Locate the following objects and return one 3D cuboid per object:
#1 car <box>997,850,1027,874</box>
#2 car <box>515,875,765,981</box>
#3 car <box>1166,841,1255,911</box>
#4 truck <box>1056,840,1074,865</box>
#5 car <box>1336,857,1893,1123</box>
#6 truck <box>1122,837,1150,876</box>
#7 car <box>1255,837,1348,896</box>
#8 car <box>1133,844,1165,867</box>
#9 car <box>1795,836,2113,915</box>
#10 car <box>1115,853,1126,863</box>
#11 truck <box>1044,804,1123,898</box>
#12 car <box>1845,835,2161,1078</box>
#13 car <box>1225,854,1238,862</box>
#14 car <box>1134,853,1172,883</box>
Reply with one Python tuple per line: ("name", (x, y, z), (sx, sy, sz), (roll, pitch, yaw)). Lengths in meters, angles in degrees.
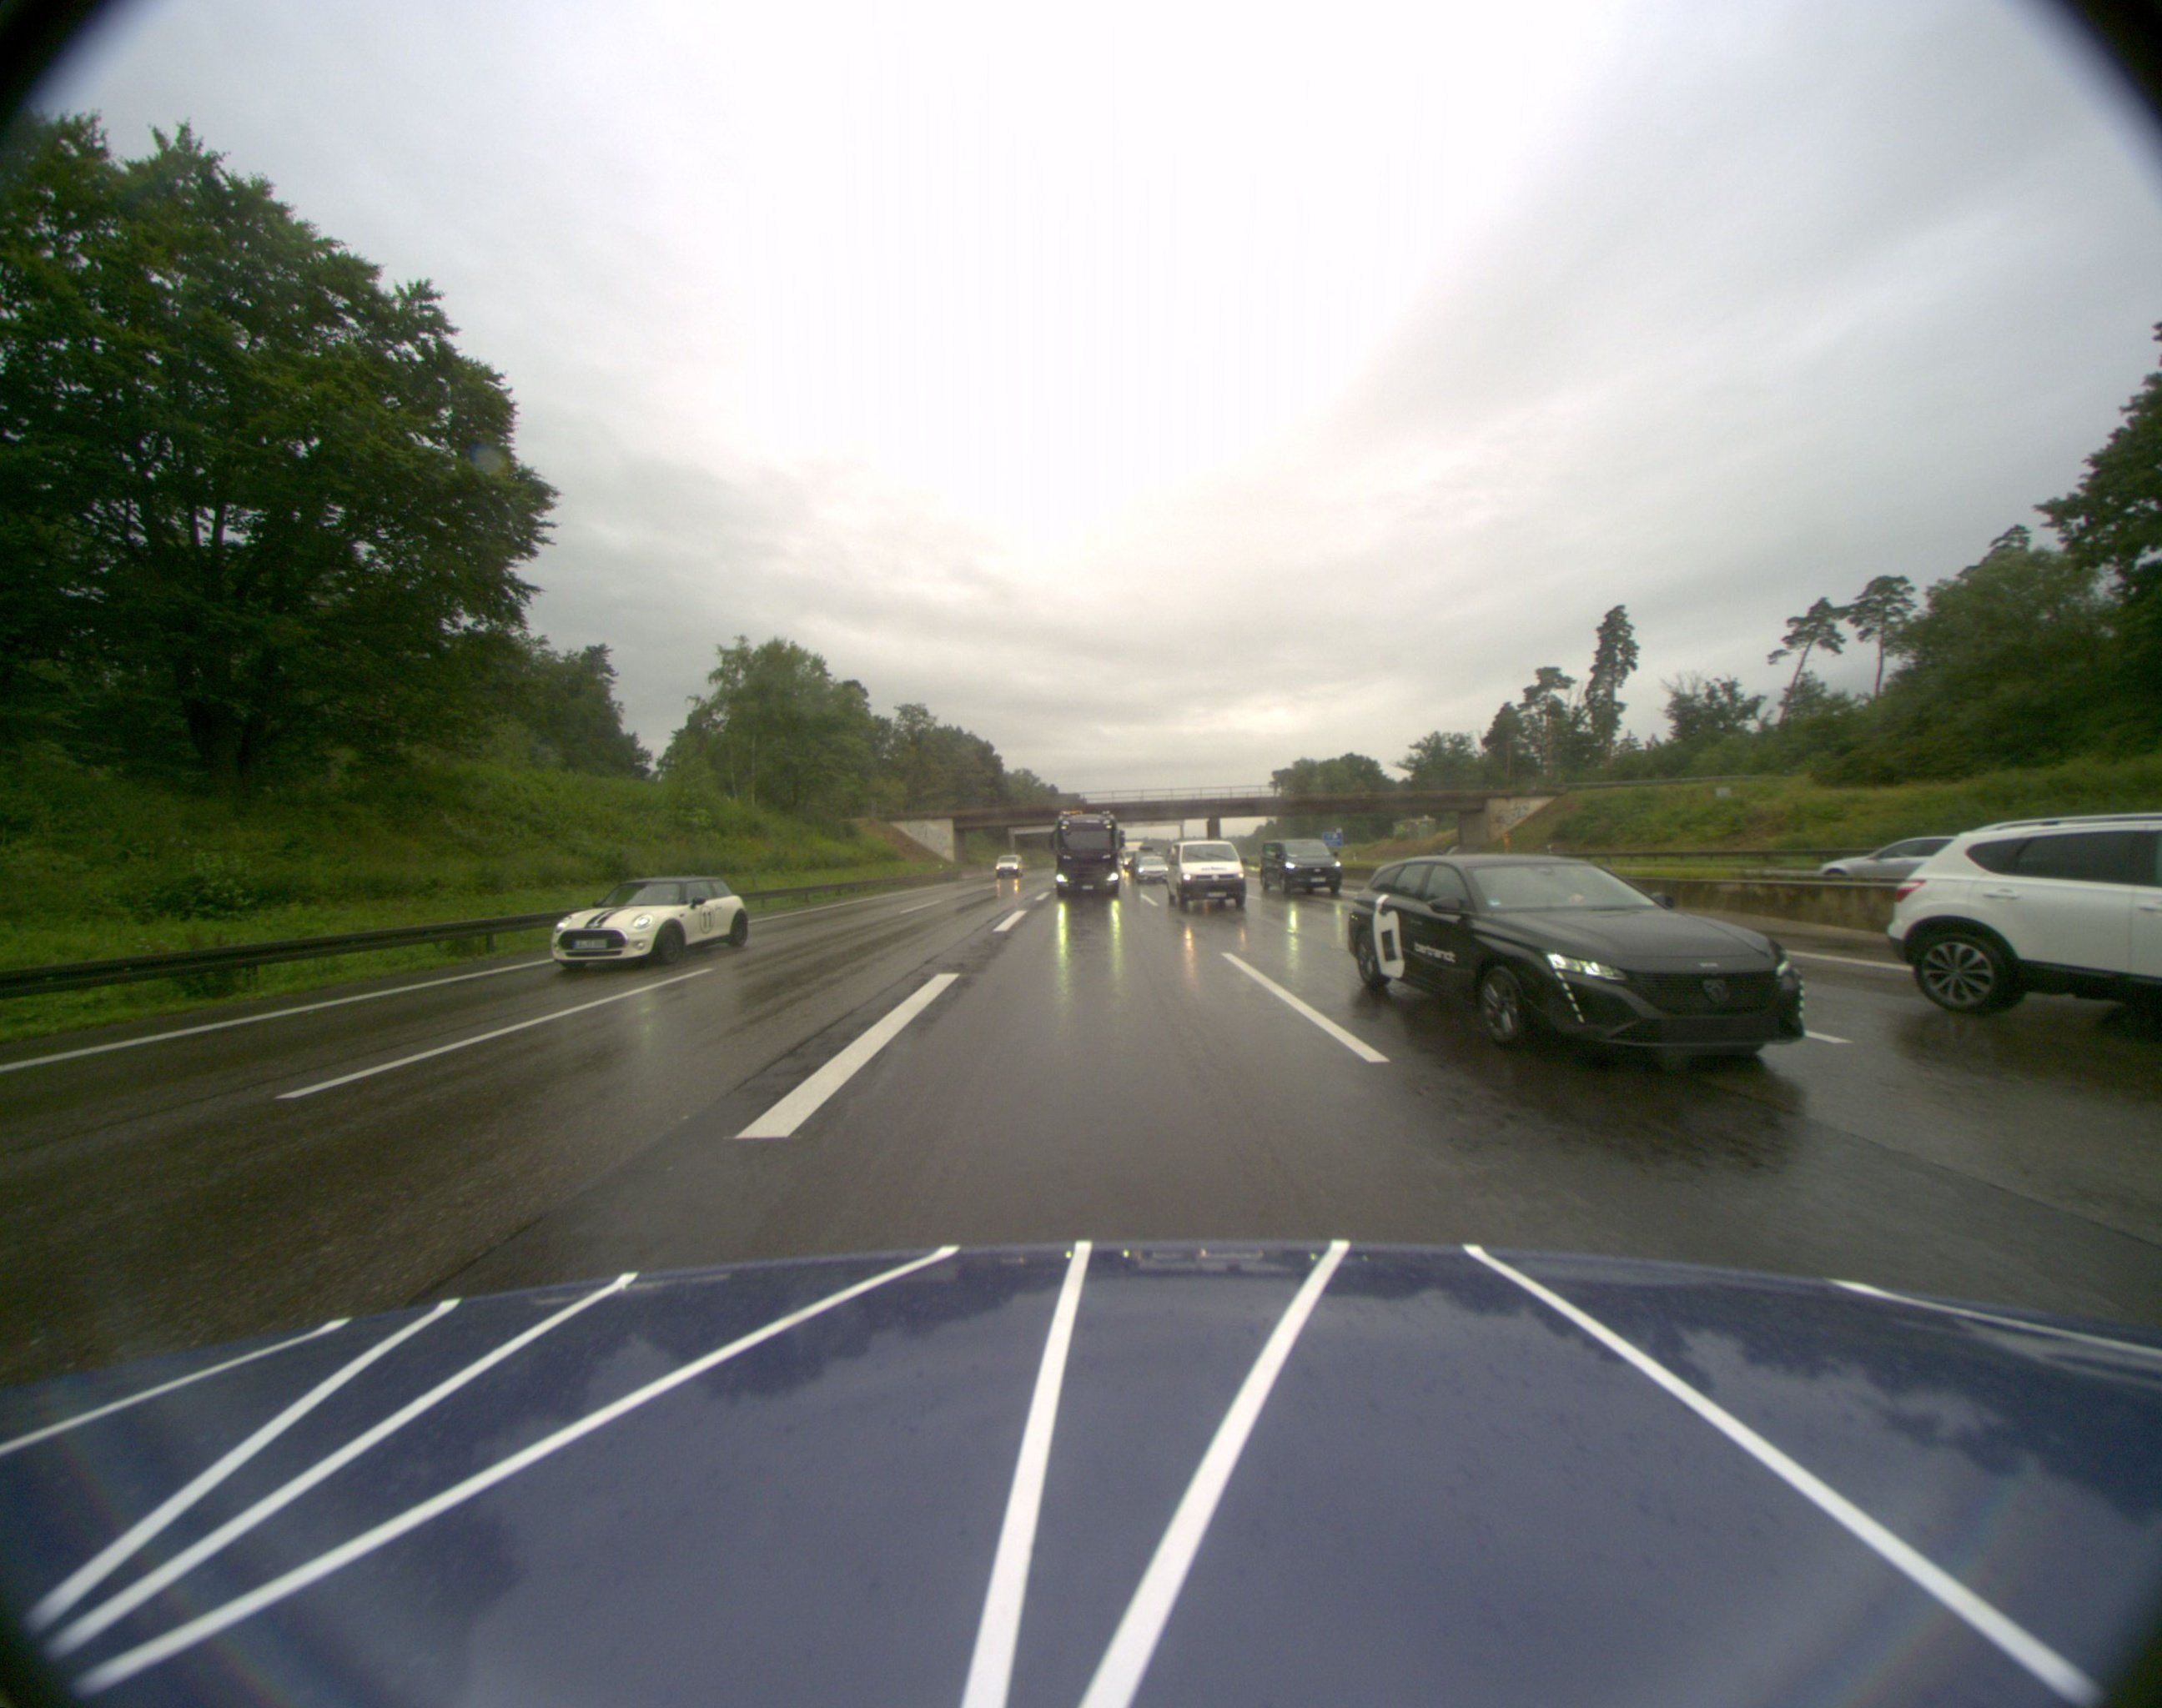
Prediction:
("car", (-6.024, 0.681, 67.068), (1.994, 1.910, 4.767), (-2, 0, 2))
("car", (-7.450, 1.156, 13.425), (1.795, 1.399, 4.228), (-2, 0, 2))
("car", (3.808, 0.602, 23.172), (1.995, 1.869, 4.767), (-2, 0, 2))
("truck", (-2.706, -0.312, 132.254), (2.608, 3.991, 6.012), (-3, 1, 2))
("car", (3.908, 0.824, 6.735), (1.850, 1.495, 4.467), (-2, 0, 2))
("truck", (5.821, 0.214, 81.553), (2.521, 3.941, 6.994), (-2, 0, 1))
("car", (8.090, 0.401, 28.439), (1.996, 1.933, 5.242), (-2, 1, 1))
("car", (4.810, 0.088, 54.441), (1.994, 1.551, 4.767), (-2, 0, 2))
("car", (19.227, 0.419, 17.150), (1.841, 1.489, 4.608), (-2, 0, 0))
("car", (8.423, 0.766, 162.045), (1.998, 2.002, 4.000), (-2, 0, 0))
("truck", (0.289, -0.183, 34.506), (2.879, 3.528, 10.911), (-2, 1, 2))
("car", (8.071, 0.665, 4.901), (1.850, 1.582, 4.467), (-2, 0, 2))
("car", (29.727, 0.780, 149.945), (1.850, 1.582, 3.944), (-2, 0, 2))
("car", (4.028, 0.765, 43.198), (1.850, 1.496, 4.466), (-2, 0, 2))
